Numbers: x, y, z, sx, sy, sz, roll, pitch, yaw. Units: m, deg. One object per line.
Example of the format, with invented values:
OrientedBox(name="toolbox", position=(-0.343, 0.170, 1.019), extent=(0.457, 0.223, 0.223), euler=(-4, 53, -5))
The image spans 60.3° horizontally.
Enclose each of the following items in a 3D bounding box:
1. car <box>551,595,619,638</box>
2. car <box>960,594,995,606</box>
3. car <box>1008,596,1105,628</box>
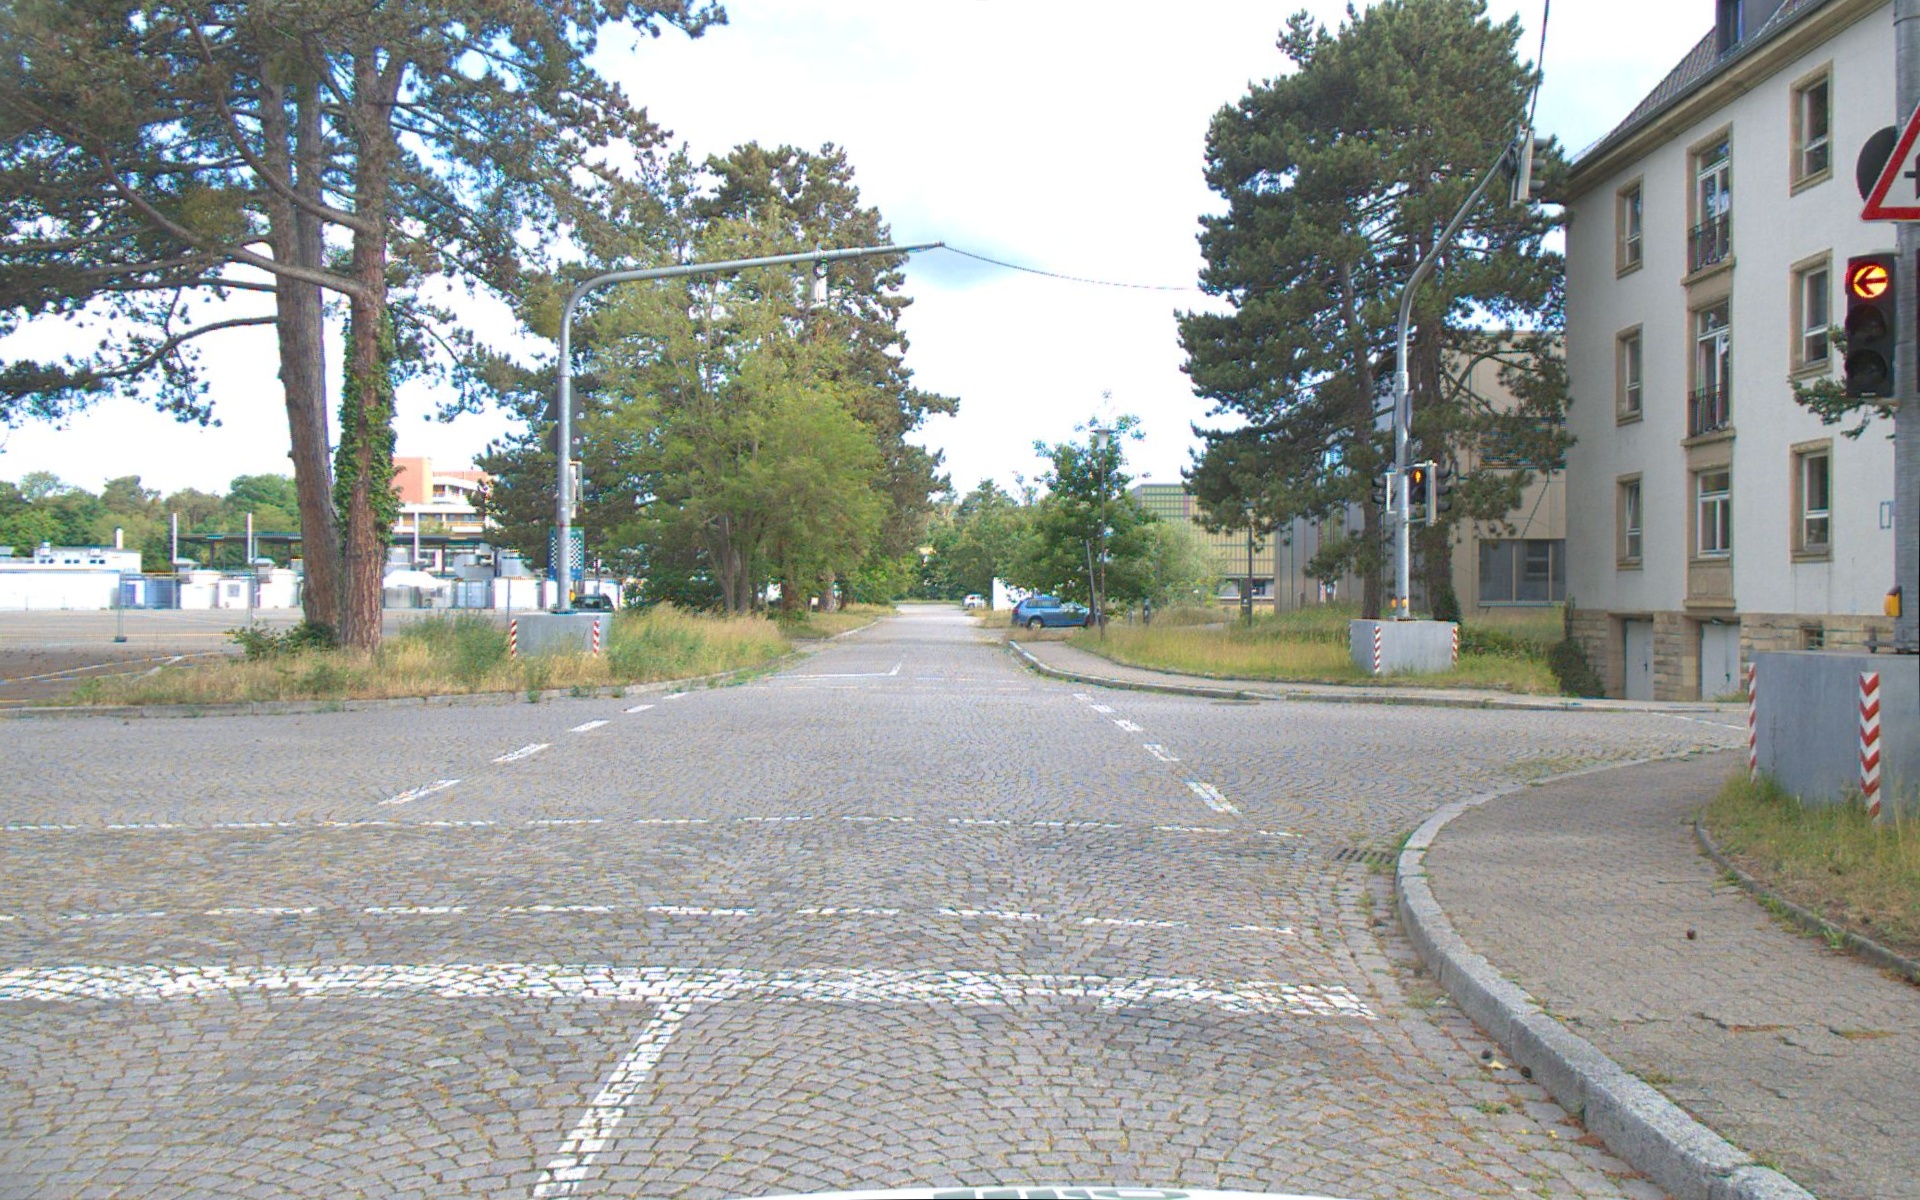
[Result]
OrientedBox(name="car", position=(-13.528, 0.565, 59.886), extent=(1.580, 1.513, 3.999), euler=(0, 0, -1))
OrientedBox(name="car", position=(2.004, -0.021, 192.128), extent=(3.911, 1.422, 1.997), euler=(0, 0, -7))
OrientedBox(name="car", position=(4.352, 0.537, 75.088), extent=(4.257, 1.447, 1.999), euler=(0, 0, -3))
